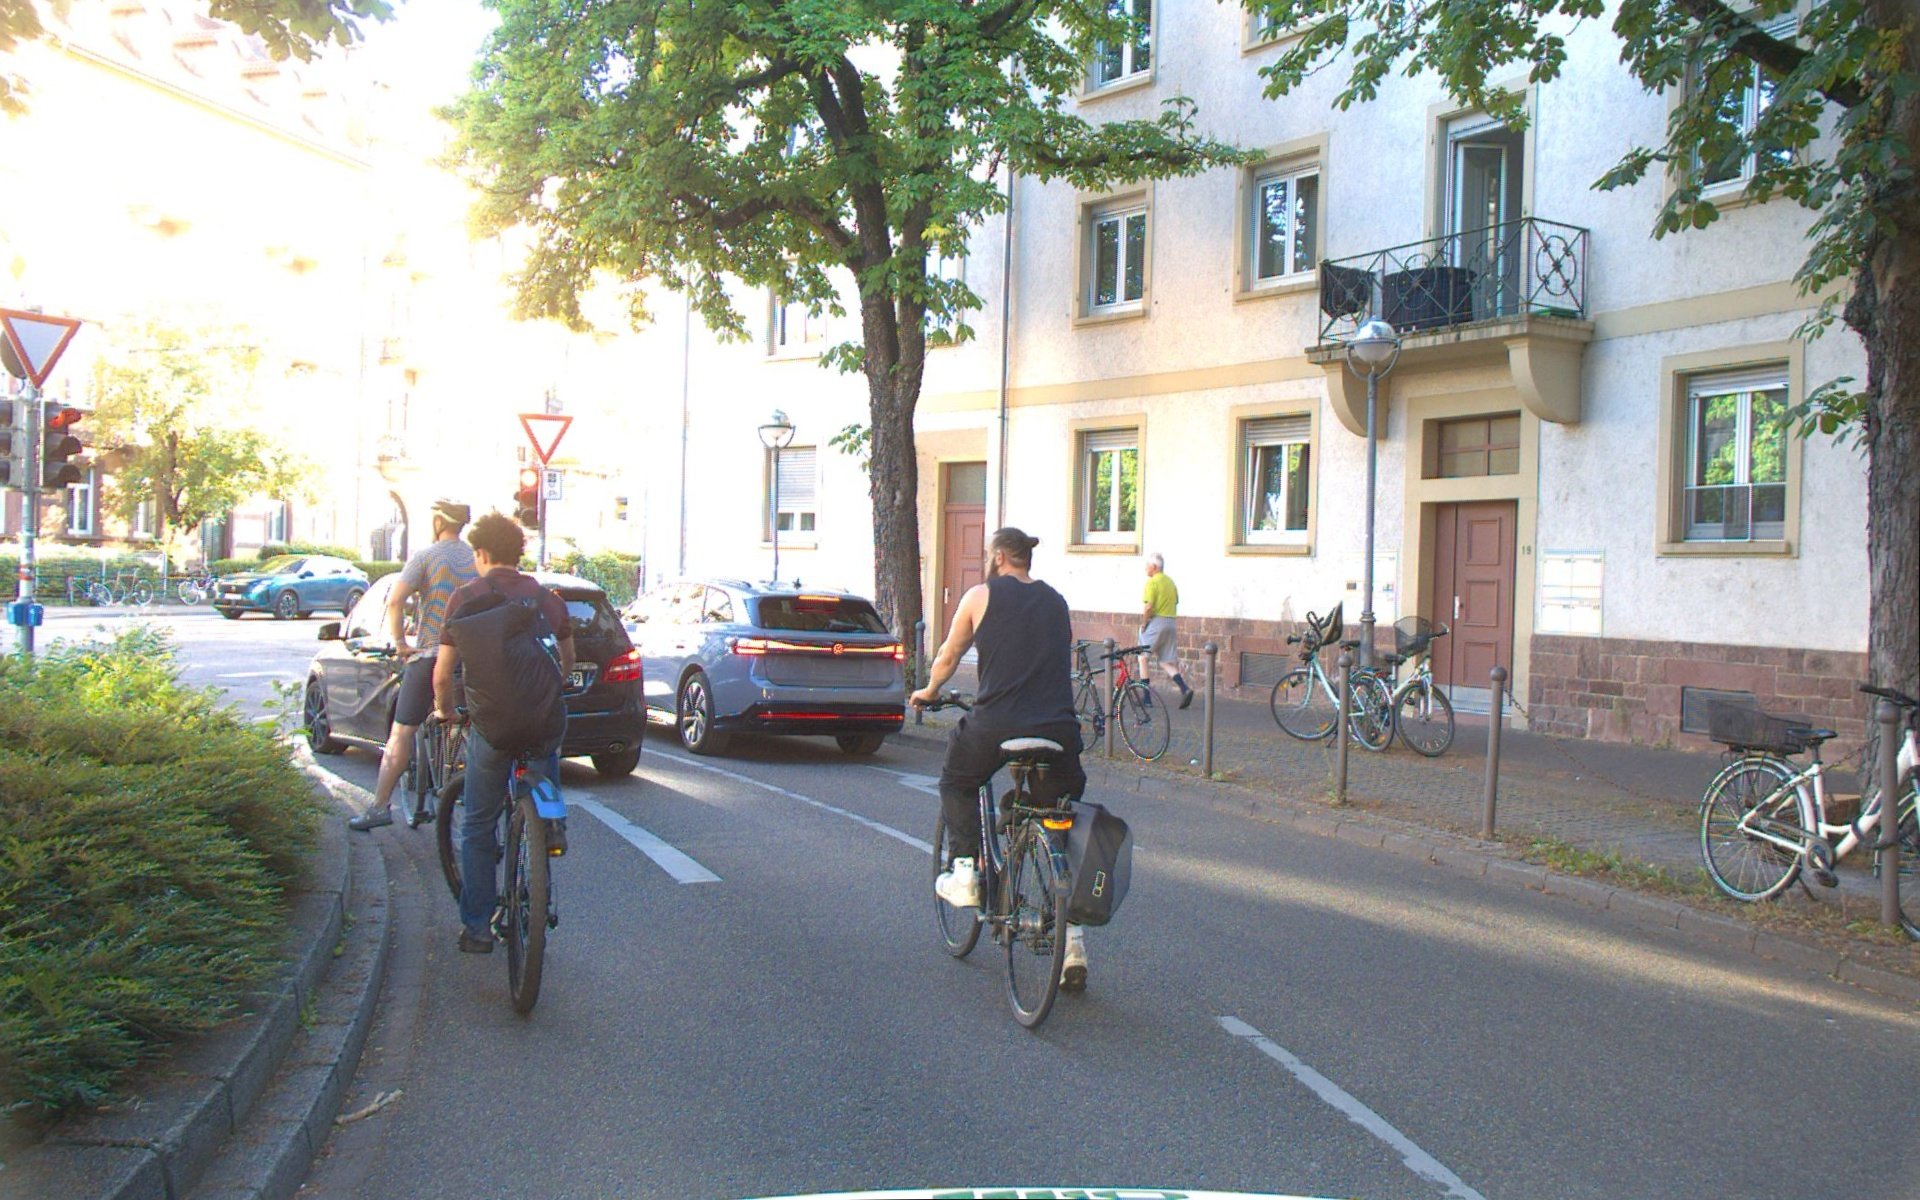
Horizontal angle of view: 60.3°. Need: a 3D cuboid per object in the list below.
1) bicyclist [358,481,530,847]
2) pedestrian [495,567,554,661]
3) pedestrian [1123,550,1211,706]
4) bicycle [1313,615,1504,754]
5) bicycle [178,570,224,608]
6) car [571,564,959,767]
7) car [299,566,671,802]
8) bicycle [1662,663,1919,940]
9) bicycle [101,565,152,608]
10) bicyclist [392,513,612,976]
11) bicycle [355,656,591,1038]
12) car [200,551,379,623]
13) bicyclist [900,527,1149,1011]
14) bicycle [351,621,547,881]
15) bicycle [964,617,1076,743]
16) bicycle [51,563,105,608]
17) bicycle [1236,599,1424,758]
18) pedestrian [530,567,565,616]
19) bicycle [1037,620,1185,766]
[{"bbox_3d":[-2.938,0.341,9.372,0.783,1.946,0.938,2,0,-23],"label":"bicyclist"},{"bbox_3d":[-8.065,0.258,30.594,0.889,1.663,0.721,4,1,-22],"label":"pedestrian"},{"bbox_3d":[2.410,0.304,19.283,0.635,1.757,0.880,-1,2,-28],"label":"pedestrian"},{"bbox_3d":[4.046,0.735,15.088,0.657,1.126,1.955,2,0,-20],"label":"bicycle"},{"bbox_3d":[-21.660,-0.317,47.208,0.433,1.056,1.234,3,1,21],"label":"bicycle"},{"bbox_3d":[-2.026,0.543,15.861,1.951,1.613,4.427,4,-1,-32],"label":"car"},{"bbox_3d":[-3.909,0.523,13.189,1.774,1.569,3.814,-1,1,-34],"label":"car"},{"bbox_3d":[4.214,0.906,7.741,0.505,1.114,1.962,0,1,-20],"label":"bicycle"},{"bbox_3d":[-22.549,-0.364,44.757,0.433,1.126,1.233,3,1,22],"label":"bicycle"},{"bbox_3d":[-1.713,0.503,6.263,0.695,1.601,0.953,2,0,-14],"label":"bicyclist"},{"bbox_3d":[-1.804,0.835,6.338,0.705,1.126,1.960,2,0,-13],"label":"bicycle"},{"bbox_3d":[-17.324,-0.331,42.973,1.901,1.678,4.413,3,1,16],"label":"car"},{"bbox_3d":[0.218,0.582,6.325,0.675,1.685,0.985,0,1,-16],"label":"bicyclist"},{"bbox_3d":[-2.924,0.764,9.298,0.799,1.205,2.211,2,1,-23],"label":"bicycle"},{"bbox_3d":[0.563,0.752,16.120,0.474,1.082,1.625,-1,2,-22],"label":"bicycle"},{"bbox_3d":[-23.168,-0.377,43.469,0.433,1.126,1.233,3,0,22],"label":"bicycle"},{"bbox_3d":[3.320,0.663,15.046,0.707,1.299,1.954,0,1,-21],"label":"bicycle"},{"bbox_3d":[-14.990,-0.300,60.101,0.697,1.693,0.895,5,2,33],"label":"pedestrian"},{"bbox_3d":[1.298,0.777,14.559,0.519,1.126,1.728,-1,2,-24],"label":"bicycle"}]
